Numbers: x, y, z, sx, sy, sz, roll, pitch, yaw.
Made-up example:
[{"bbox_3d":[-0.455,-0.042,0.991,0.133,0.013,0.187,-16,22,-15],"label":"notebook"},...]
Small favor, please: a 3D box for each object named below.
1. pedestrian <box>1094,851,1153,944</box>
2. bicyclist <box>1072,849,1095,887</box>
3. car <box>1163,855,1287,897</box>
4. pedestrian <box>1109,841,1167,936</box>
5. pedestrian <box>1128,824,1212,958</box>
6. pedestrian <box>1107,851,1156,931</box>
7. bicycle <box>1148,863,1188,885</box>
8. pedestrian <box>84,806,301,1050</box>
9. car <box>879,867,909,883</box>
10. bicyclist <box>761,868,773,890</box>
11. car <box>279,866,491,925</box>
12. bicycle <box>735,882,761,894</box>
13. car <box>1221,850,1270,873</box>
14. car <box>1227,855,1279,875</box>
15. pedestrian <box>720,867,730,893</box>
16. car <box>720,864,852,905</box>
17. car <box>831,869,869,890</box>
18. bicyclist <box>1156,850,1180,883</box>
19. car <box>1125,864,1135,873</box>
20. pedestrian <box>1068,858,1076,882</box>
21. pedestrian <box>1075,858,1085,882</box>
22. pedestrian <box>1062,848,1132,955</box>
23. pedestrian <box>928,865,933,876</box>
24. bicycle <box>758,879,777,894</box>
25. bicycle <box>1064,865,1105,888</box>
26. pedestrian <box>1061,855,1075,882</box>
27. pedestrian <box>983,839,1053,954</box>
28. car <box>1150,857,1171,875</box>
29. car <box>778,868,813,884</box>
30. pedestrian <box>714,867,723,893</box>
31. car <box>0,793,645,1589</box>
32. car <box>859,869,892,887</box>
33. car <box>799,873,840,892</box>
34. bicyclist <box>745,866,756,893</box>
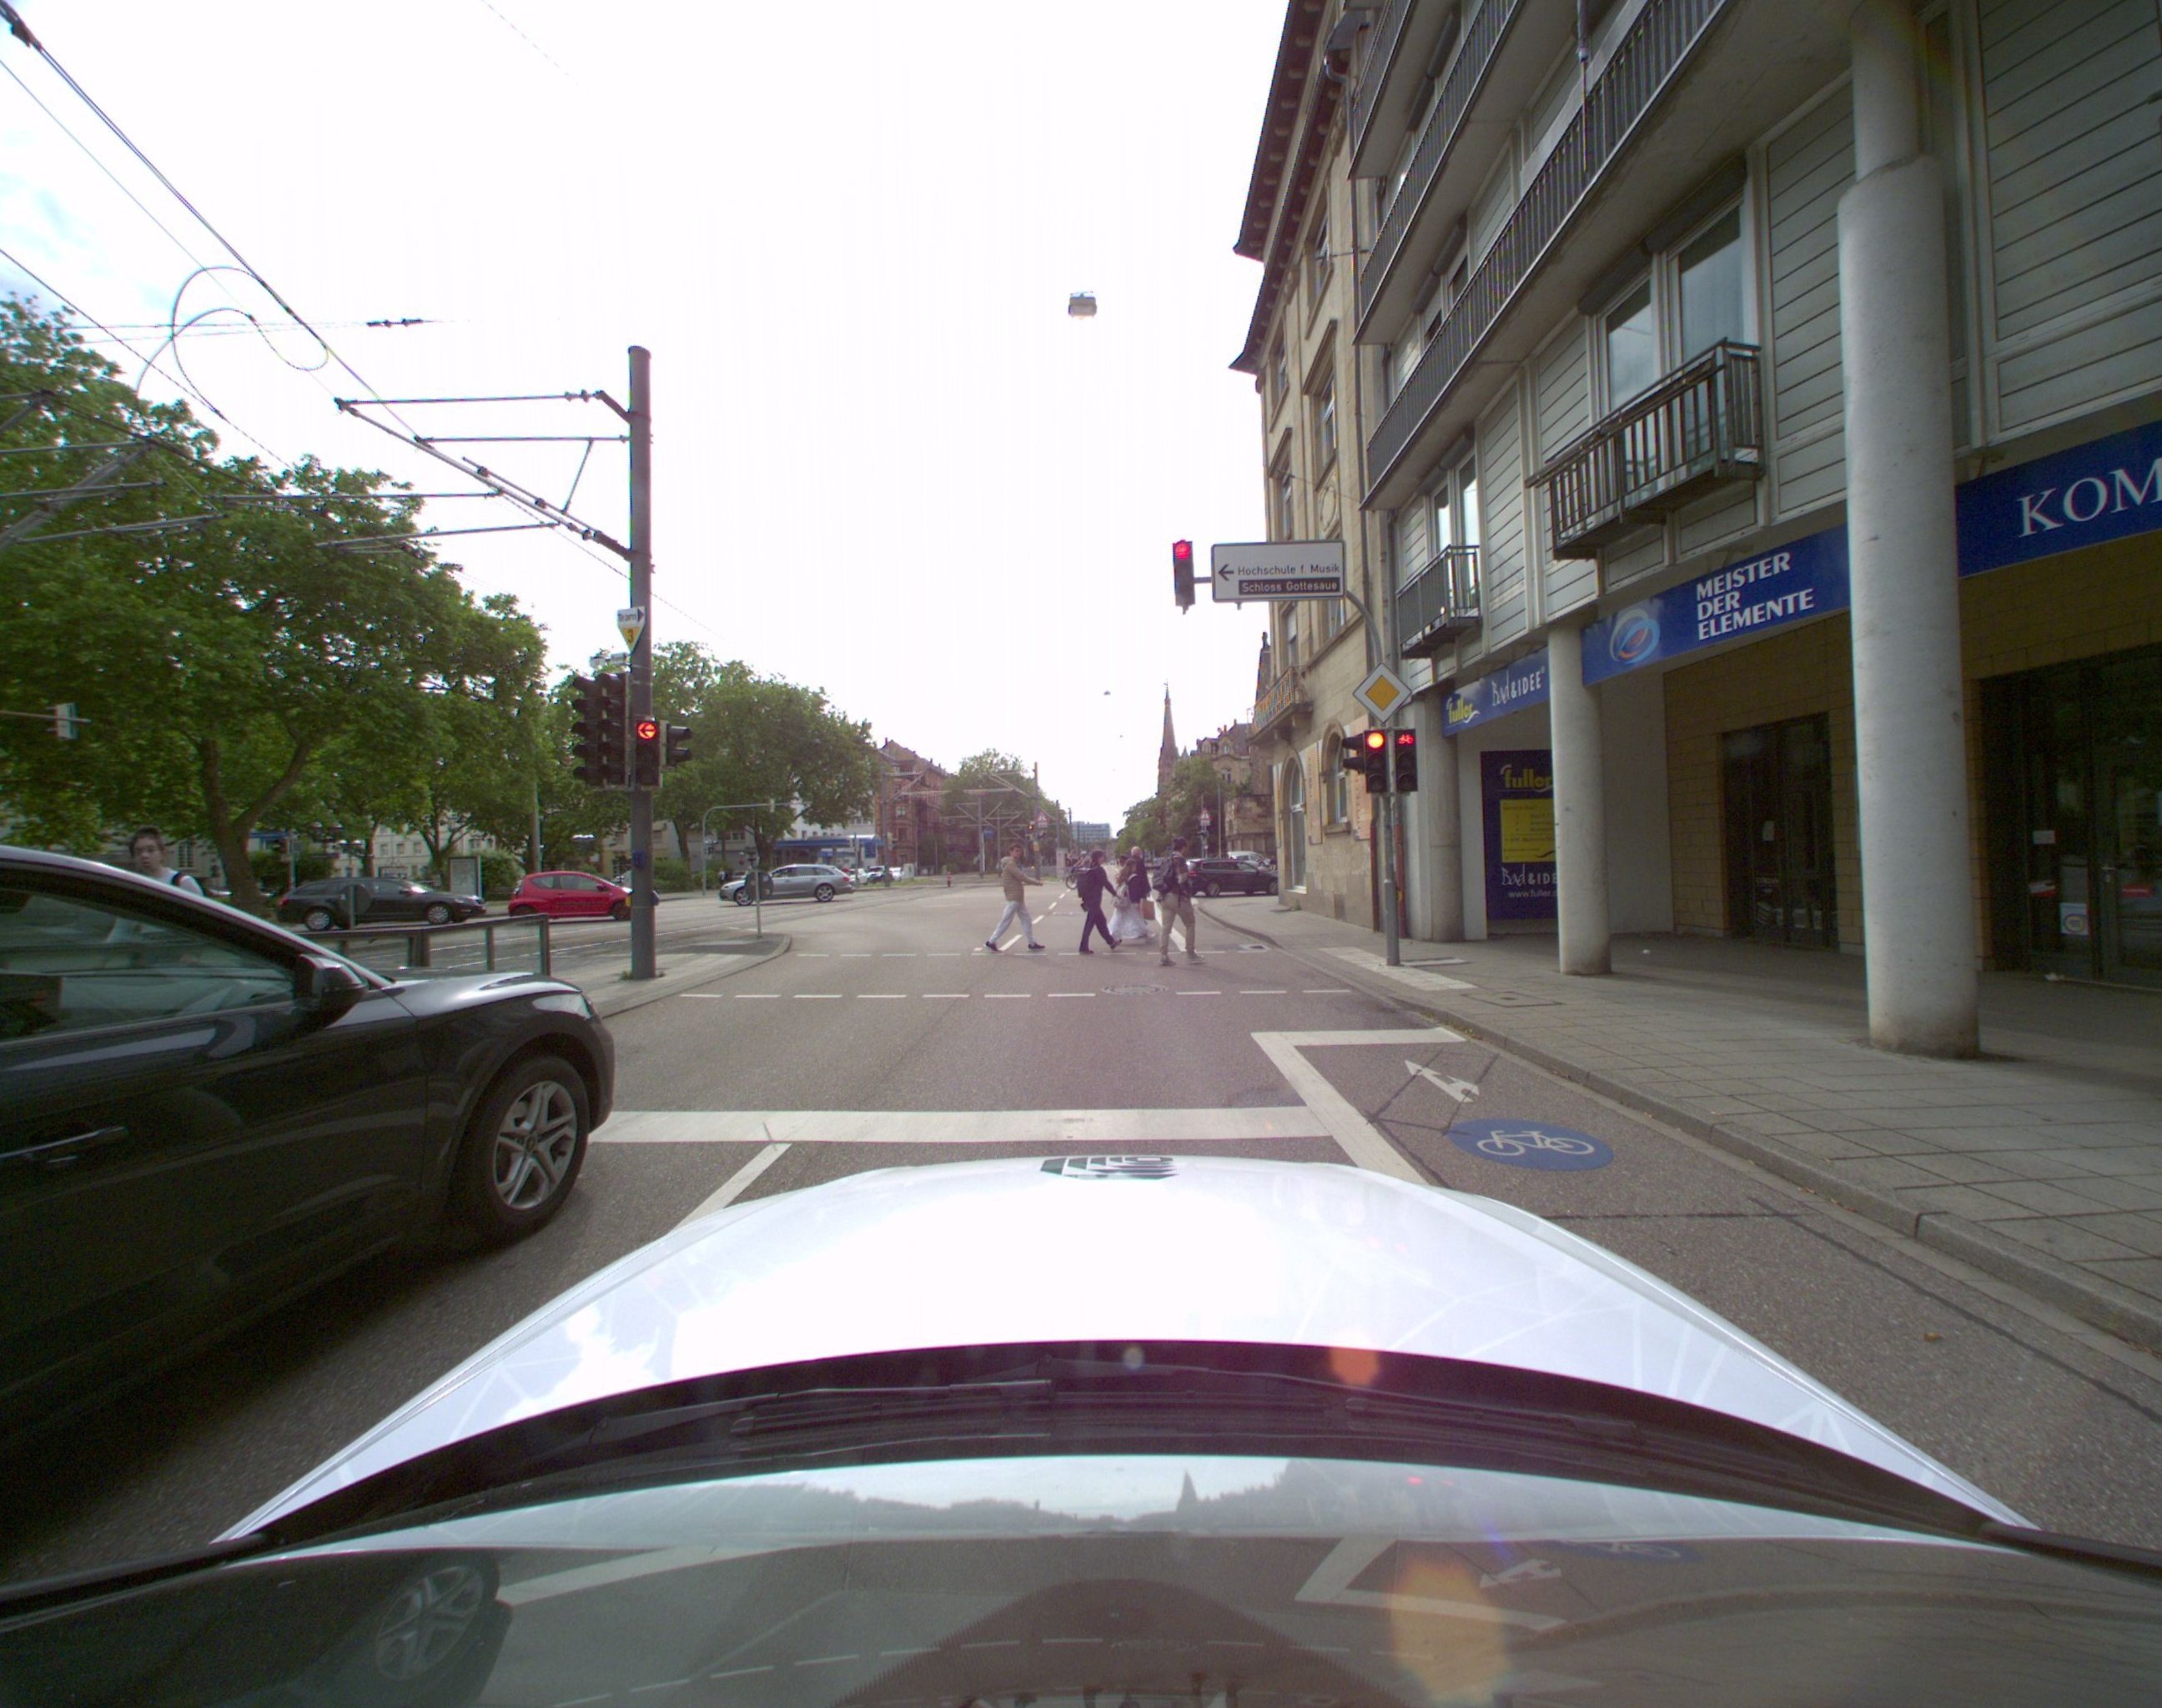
[{"bbox_3d":[0.760,0.754,14.545,0.693,1.593,0.836,-1,-1,39],"label":"pedestrian"},{"bbox_3d":[0.123,0.693,39.961,0.970,1.819,0.527,0,-1,-27],"label":"bicyclist"},{"bbox_3d":[5.613,0.824,31.714,4.447,1.510,1.826,0,-1,-20],"label":"car"},{"bbox_3d":[1.102,0.661,15.859,0.906,1.784,0.651,-1,-1,39],"label":"pedestrian"},{"bbox_3d":[1.262,0.501,11.448,0.620,1.779,1.141,-2,-2,39],"label":"pedestrian"},{"bbox_3d":[1.093,0.774,17.653,0.663,1.680,0.874,-1,-1,40],"label":"pedestrian"},{"bbox_3d":[4.519,1.036,42.194,1.943,1.136,0.731,0,-1,-19],"label":"bicycle"},{"bbox_3d":[-6.419,0.509,5.932,0.751,1.661,0.730,0,-1,1],"label":"pedestrian"},{"bbox_3d":[-18.442,2.049,80.442,1.887,1.557,3.837,0,-1,2],"label":"car"},{"bbox_3d":[-21.675,1.721,56.223,0.585,1.568,0.619,0,-1,1],"label":"bicyclist"},{"bbox_3d":[-20.094,1.147,23.783,4.346,1.586,1.797,0,-1,-24],"label":"car"},{"bbox_3d":[-22.847,2.321,55.865,1.665,0.773,0.659,-1,-1,22],"label":"bicycle"},{"bbox_3d":[13.879,0.667,68.792,3.785,1.904,2.001,0,-1,1],"label":"car"},{"bbox_3d":[13.769,0.883,65.379,3.785,1.601,2.001,0,-1,1],"label":"car"},{"bbox_3d":[-25.208,1.849,57.651,0.370,1.784,0.555,-1,-1,33],"label":"pedestrian"},{"bbox_3d":[-11.441,1.154,31.811,4.733,1.510,1.826,0,-1,-20],"label":"car"},{"bbox_3d":[-18.800,2.063,66.537,1.887,1.557,3.837,0,-1,2],"label":"car"},{"bbox_3d":[4.523,0.632,42.229,1.041,1.683,0.641,0,-1,-19],"label":"bicyclist"},{"bbox_3d":[10.302,3.099,173.002,1.986,2.014,4.001,0,-1,2],"label":"car"},{"bbox_3d":[-0.577,1.060,53.124,0.544,1.537,0.465,0,-1,-3],"label":"pedestrian"},{"bbox_3d":[-0.075,1.010,52.598,0.651,1.537,0.465,0,-1,-3],"label":"pedestrian"},{"bbox_3d":[0.265,0.732,13.107,0.620,1.653,1.003,-1,-1,39],"label":"pedestrian"},{"bbox_3d":[-21.466,2.357,116.405,0.447,1.460,0.528,-1,-1,42],"label":"pedestrian"},{"bbox_3d":[-21.616,2.238,56.127,0.520,1.017,1.937,0,-1,2],"label":"bicycle"},{"bbox_3d":[0.182,1.093,39.963,1.910,1.142,0.623,0,-1,-28],"label":"bicycle"},{"bbox_3d":[-0.784,0.880,50.568,0.848,1.654,0.508,0,-1,-1],"label":"pedestrian"},{"bbox_3d":[-1.035,0.672,13.286,1.015,1.813,0.580,0,-1,-22],"label":"pedestrian"},{"bbox_3d":[8.827,1.342,90.839,1.986,2.014,4.001,0,-1,1],"label":"car"},{"bbox_3d":[-28.731,2.201,81.968,1.986,1.530,4.001,0,-1,2],"label":"car"},{"bbox_3d":[-25.663,1.849,57.663,0.370,1.784,0.452,-1,-1,34],"label":"pedestrian"},{"bbox_3d":[-3.120,0.694,1.812,1.873,1.601,4.358,-1,-1,1],"label":"car"},{"bbox_3d":[-18.568,2.142,73.651,1.887,1.557,3.837,0,-1,2],"label":"car"},{"bbox_3d":[-19.353,2.094,60.438,1.628,1.325,4.001,0,-1,2],"label":"car"},{"bbox_3d":[-22.661,1.744,55.799,0.528,1.784,0.472,-1,-1,21],"label":"bicyclist"}]
